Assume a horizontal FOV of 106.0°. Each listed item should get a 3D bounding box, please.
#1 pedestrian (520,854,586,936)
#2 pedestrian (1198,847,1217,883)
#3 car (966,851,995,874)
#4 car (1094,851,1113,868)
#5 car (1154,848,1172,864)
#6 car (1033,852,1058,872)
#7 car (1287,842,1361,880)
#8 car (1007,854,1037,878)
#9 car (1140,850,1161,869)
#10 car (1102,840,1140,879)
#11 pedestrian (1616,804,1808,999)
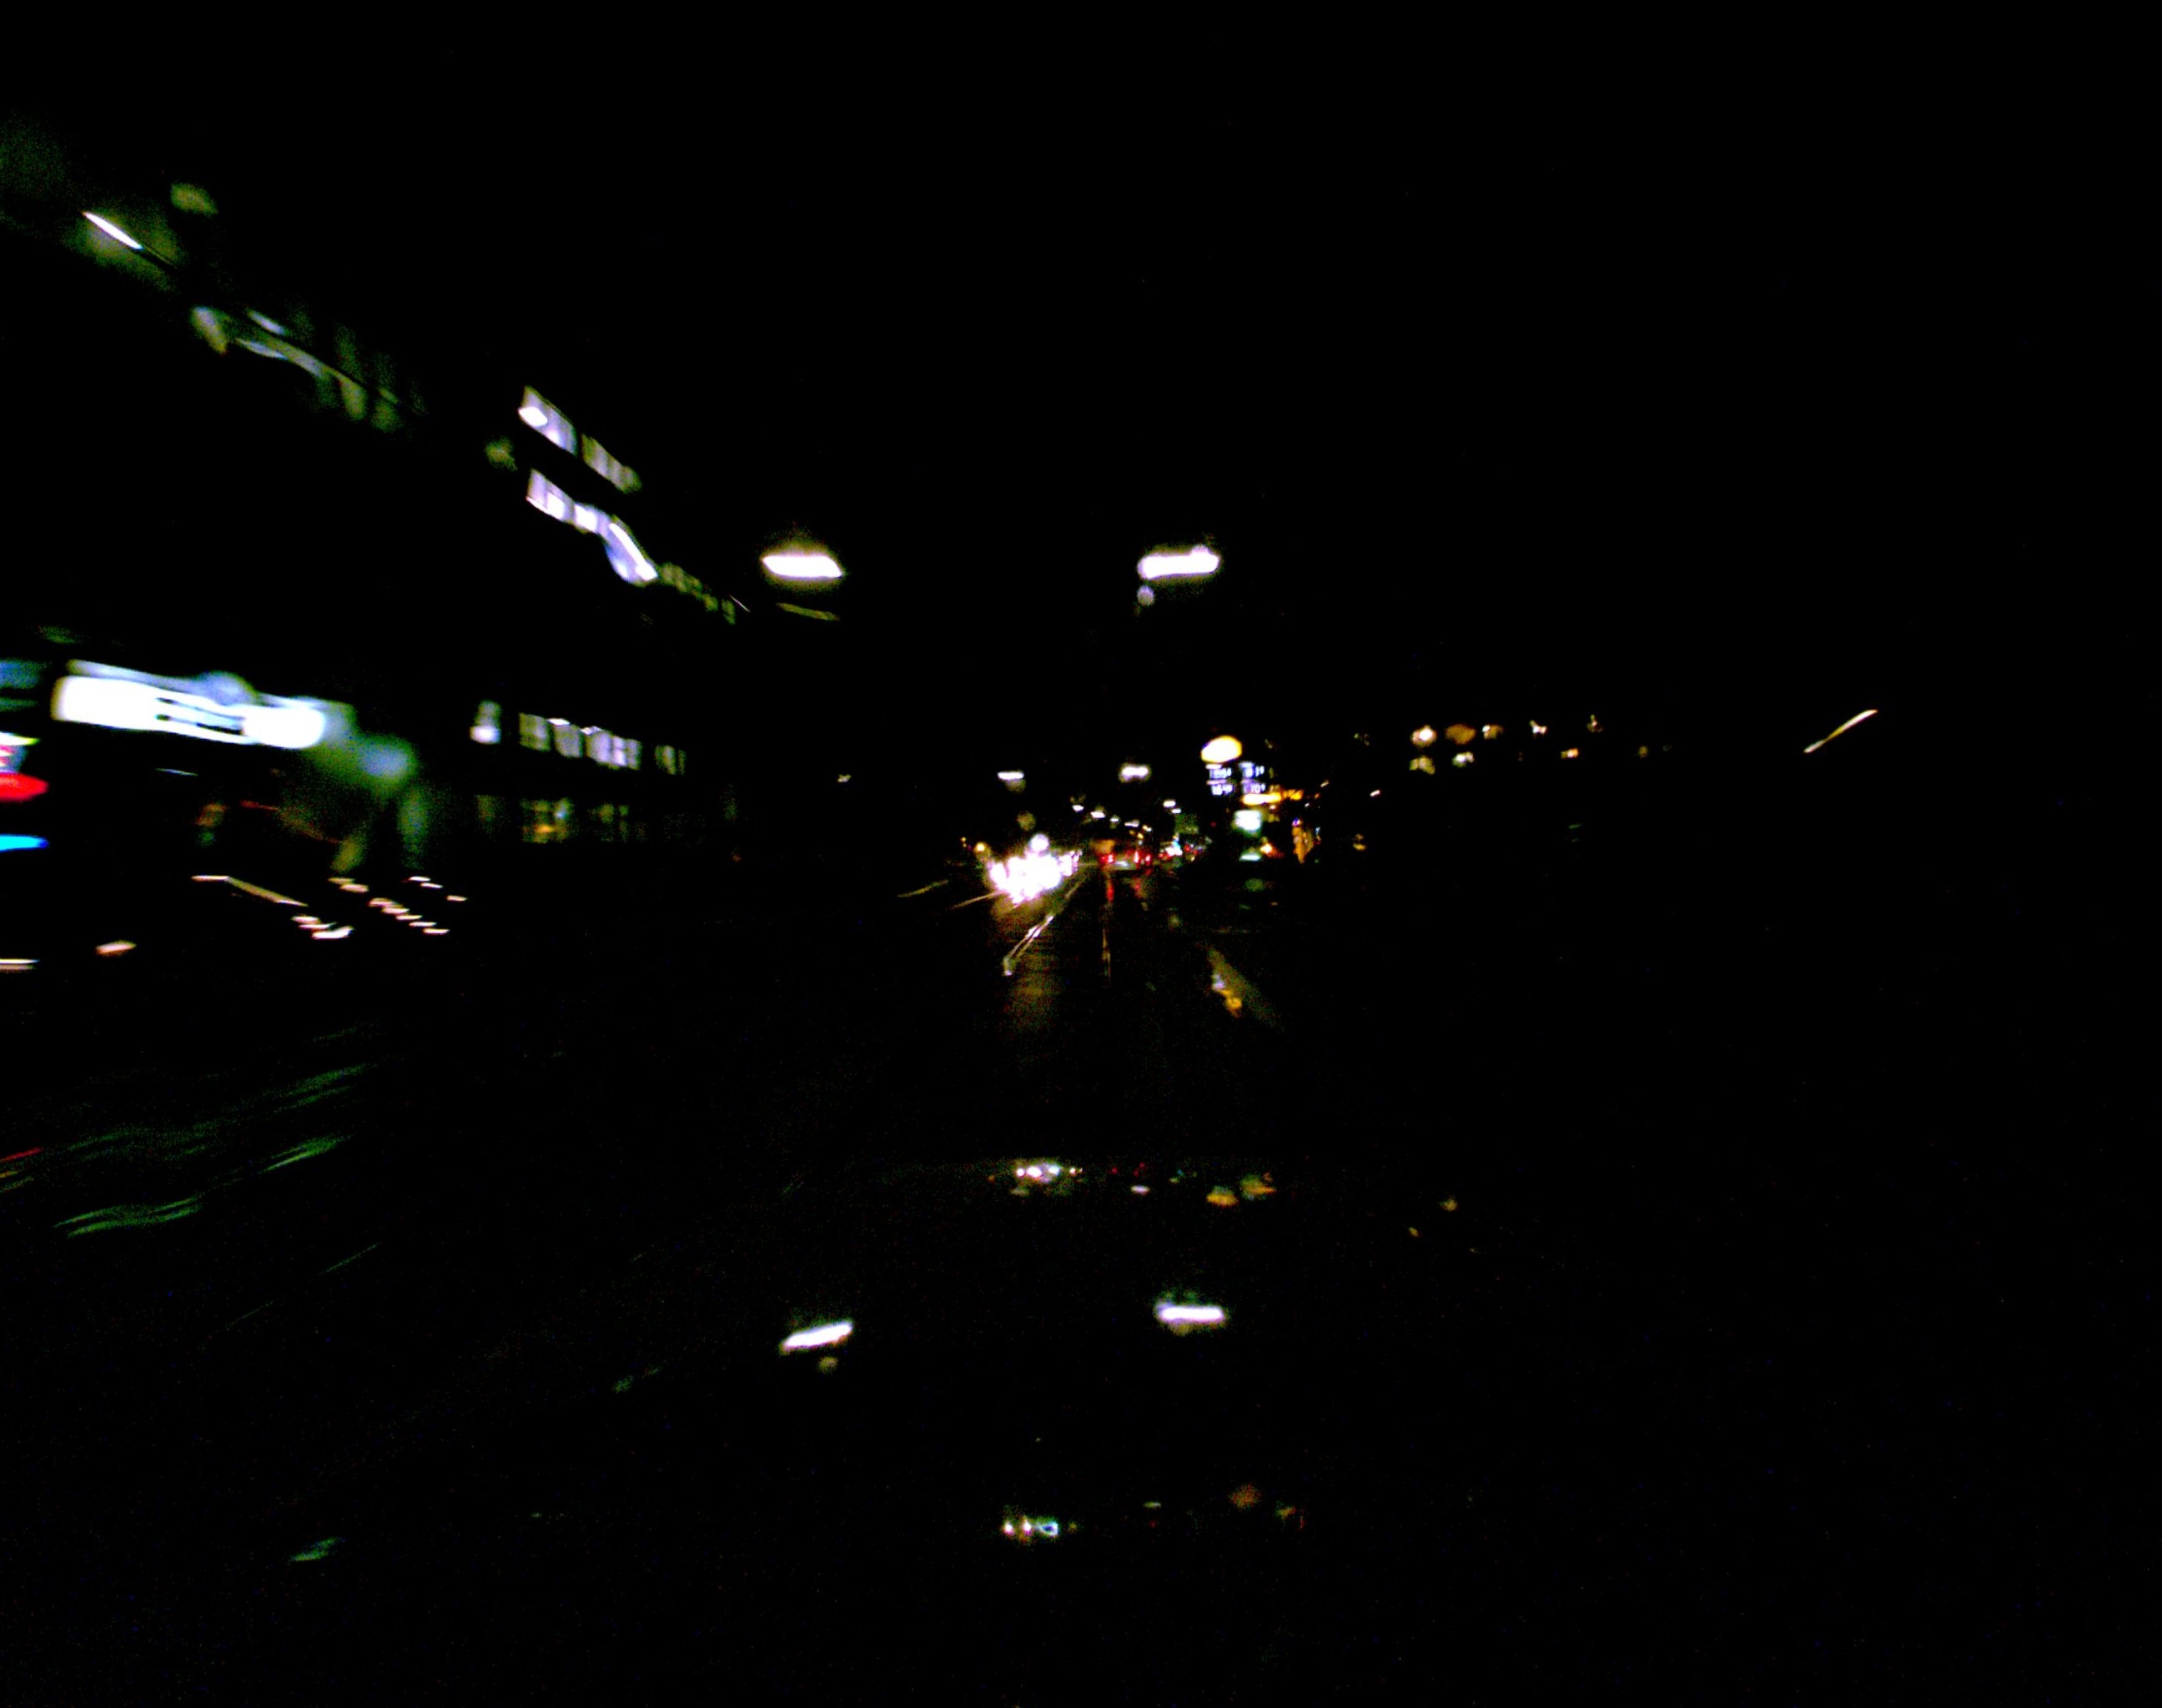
[{"bbox_3d":[-11.252,0.857,17.389,0.783,1.686,0.883,-2,0,2],"label":"pedestrian"},{"bbox_3d":[6.346,0.526,40.770,0.771,1.776,0.697,-2,0,19],"label":"pedestrian"},{"bbox_3d":[-9.275,0.741,75.474,1.985,2.013,4.003,-2,0,3],"label":"car"},{"bbox_3d":[2.531,0.622,91.314,1.986,1.816,4.001,-2,0,1],"label":"car"},{"bbox_3d":[11.042,0.297,109.954,1.986,2.013,4.001,-2,0,1],"label":"car"},{"bbox_3d":[-3.430,0.778,80.481,2.313,1.932,4.960,-2,0,-1],"label":"car"},{"bbox_3d":[11.490,0.307,38.378,2.004,1.700,4.148,-2,0,37],"label":"car"},{"bbox_3d":[-4.399,0.873,60.886,1.988,1.724,4.074,-2,0,-2],"label":"car"},{"bbox_3d":[6.843,0.539,80.525,2.007,1.815,4.004,-2,0,4],"label":"car"},{"bbox_3d":[2.555,0.355,53.180,2.236,2.361,4.394,-2,0,1],"label":"car"},{"bbox_3d":[5.939,0.417,7.736,0.937,1.663,0.993,-4,0,-3],"label":"pedestrian"}]
